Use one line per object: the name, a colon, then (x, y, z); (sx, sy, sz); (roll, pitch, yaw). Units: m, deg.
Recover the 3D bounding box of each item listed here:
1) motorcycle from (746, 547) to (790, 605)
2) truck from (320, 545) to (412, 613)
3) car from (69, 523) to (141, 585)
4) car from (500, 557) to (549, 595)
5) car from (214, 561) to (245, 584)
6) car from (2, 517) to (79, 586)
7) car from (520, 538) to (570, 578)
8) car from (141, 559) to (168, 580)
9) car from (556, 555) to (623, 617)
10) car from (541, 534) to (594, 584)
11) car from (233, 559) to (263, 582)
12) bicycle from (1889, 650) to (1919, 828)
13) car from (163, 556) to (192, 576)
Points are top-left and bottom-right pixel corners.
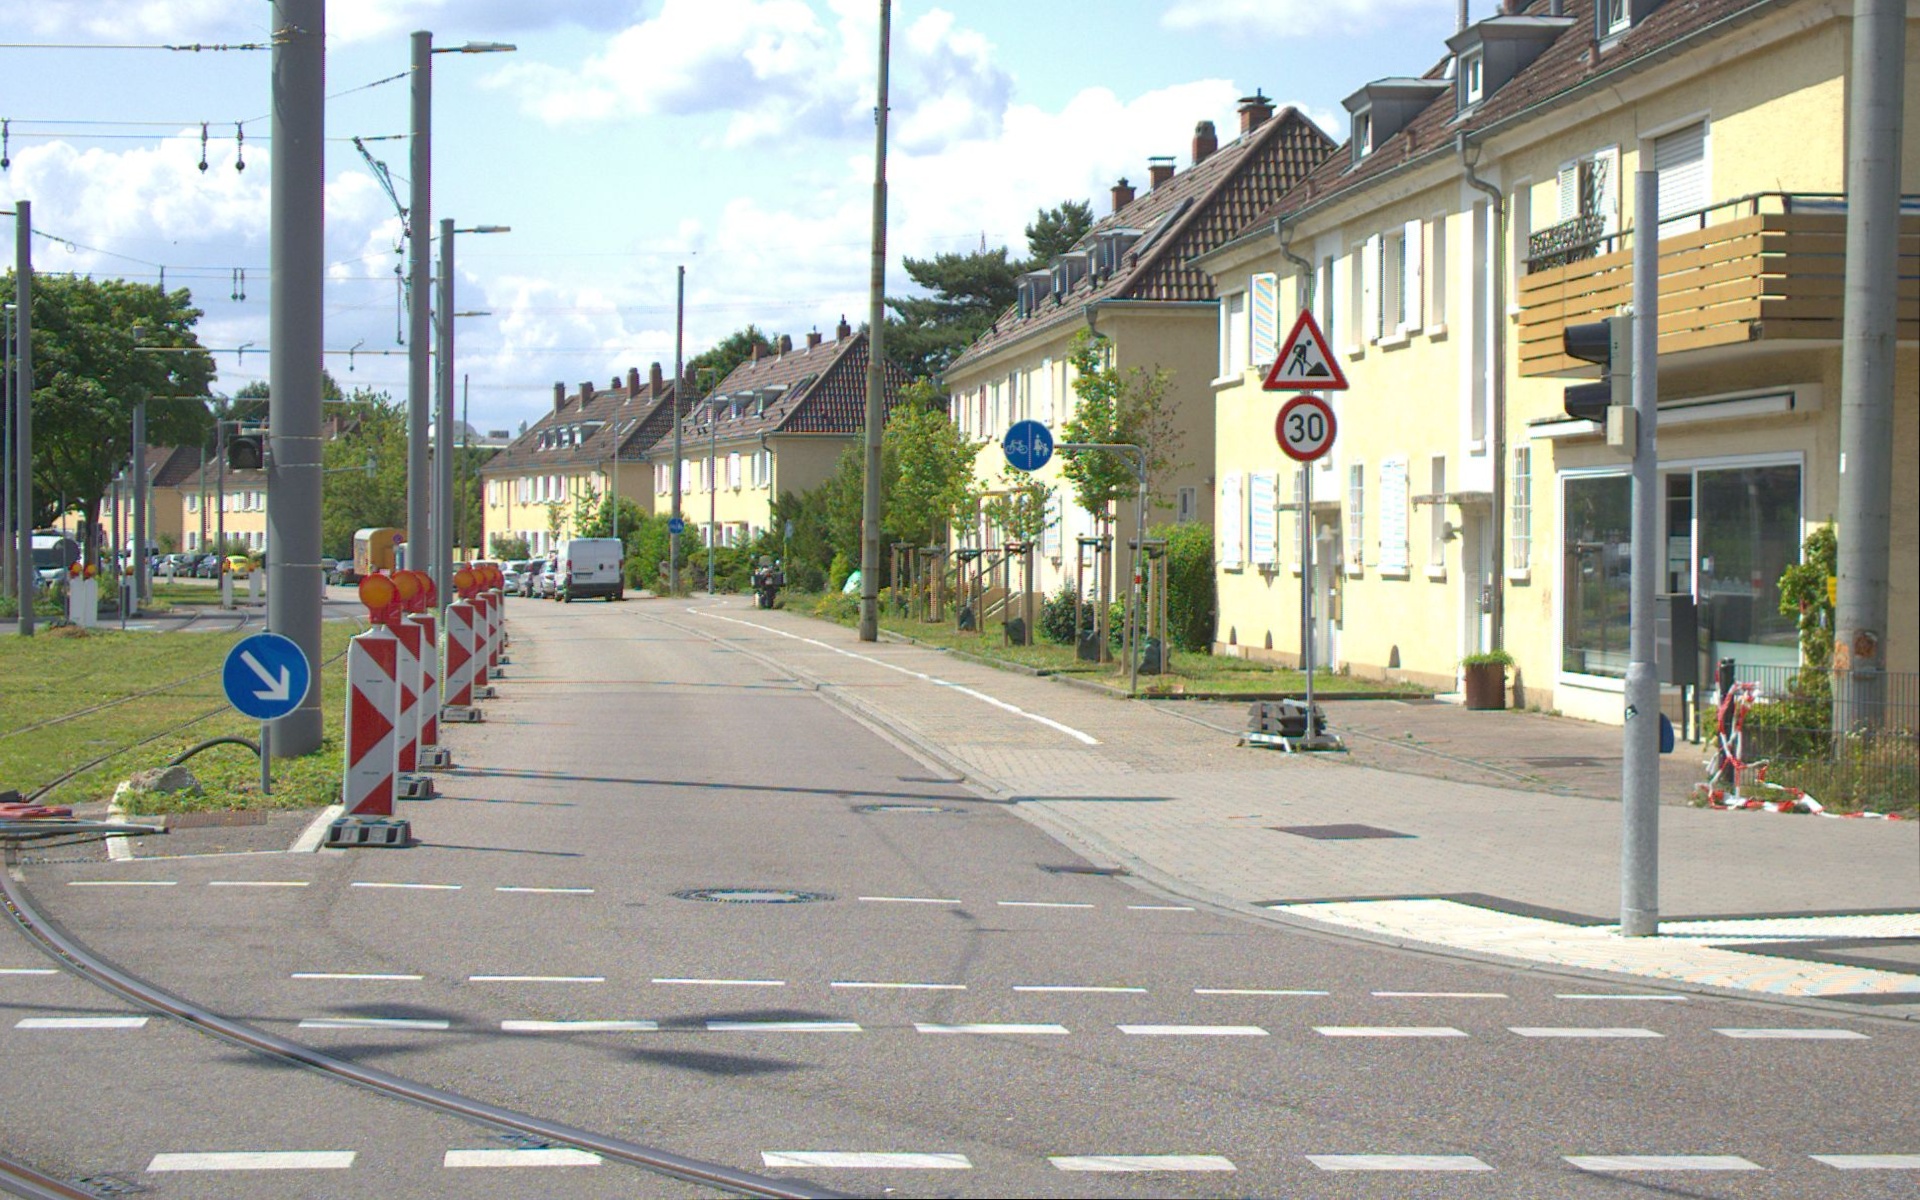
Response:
motorcycle: (-5.439, -0.674, 97.195); (1.066, 1.630, 2.084); (0, 0, -8)
truck: (-31.643, -1.117, 182.811); (2.640, 3.482, 9.440); (0, 0, -23)
car: (-33.101, -1.790, 132.951); (2.406, 2.362, 4.881); (0, 1, -17)
car: (-18.067, -1.009, 142.601); (1.567, 1.546, 3.790); (0, 0, -14)
car: (-46.604, -1.766, 219.257); (1.257, 1.421, 2.666); (0, 0, -27)
car: (-32.320, -1.694, 120.778); (2.406, 2.330, 4.881); (0, 0, -17)
car: (-16.544, -1.682, 136.929); (1.567, 1.546, 3.791); (0, 1, -14)
car: (-54.671, -2.085, 233.276); (1.166, 1.421, 2.666); (0, 0, -28)
car: (-13.213, -0.494, 122.456); (2.065, 2.142, 4.880); (0, 0, -10)
car: (-15.086, -1.559, 132.039); (1.567, 1.891, 3.790); (0, 0, -14)
car: (-44.448, -1.818, 214.518); (1.257, 1.421, 2.666); (0, 0, -25)
bicycle: (6.574, 0.870, 20.607); (0.593, 1.093, 2.277); (1, 0, -25)
car: (-52.195, -2.252, 229.288); (1.257, 1.346, 2.666); (0, 0, -27)
